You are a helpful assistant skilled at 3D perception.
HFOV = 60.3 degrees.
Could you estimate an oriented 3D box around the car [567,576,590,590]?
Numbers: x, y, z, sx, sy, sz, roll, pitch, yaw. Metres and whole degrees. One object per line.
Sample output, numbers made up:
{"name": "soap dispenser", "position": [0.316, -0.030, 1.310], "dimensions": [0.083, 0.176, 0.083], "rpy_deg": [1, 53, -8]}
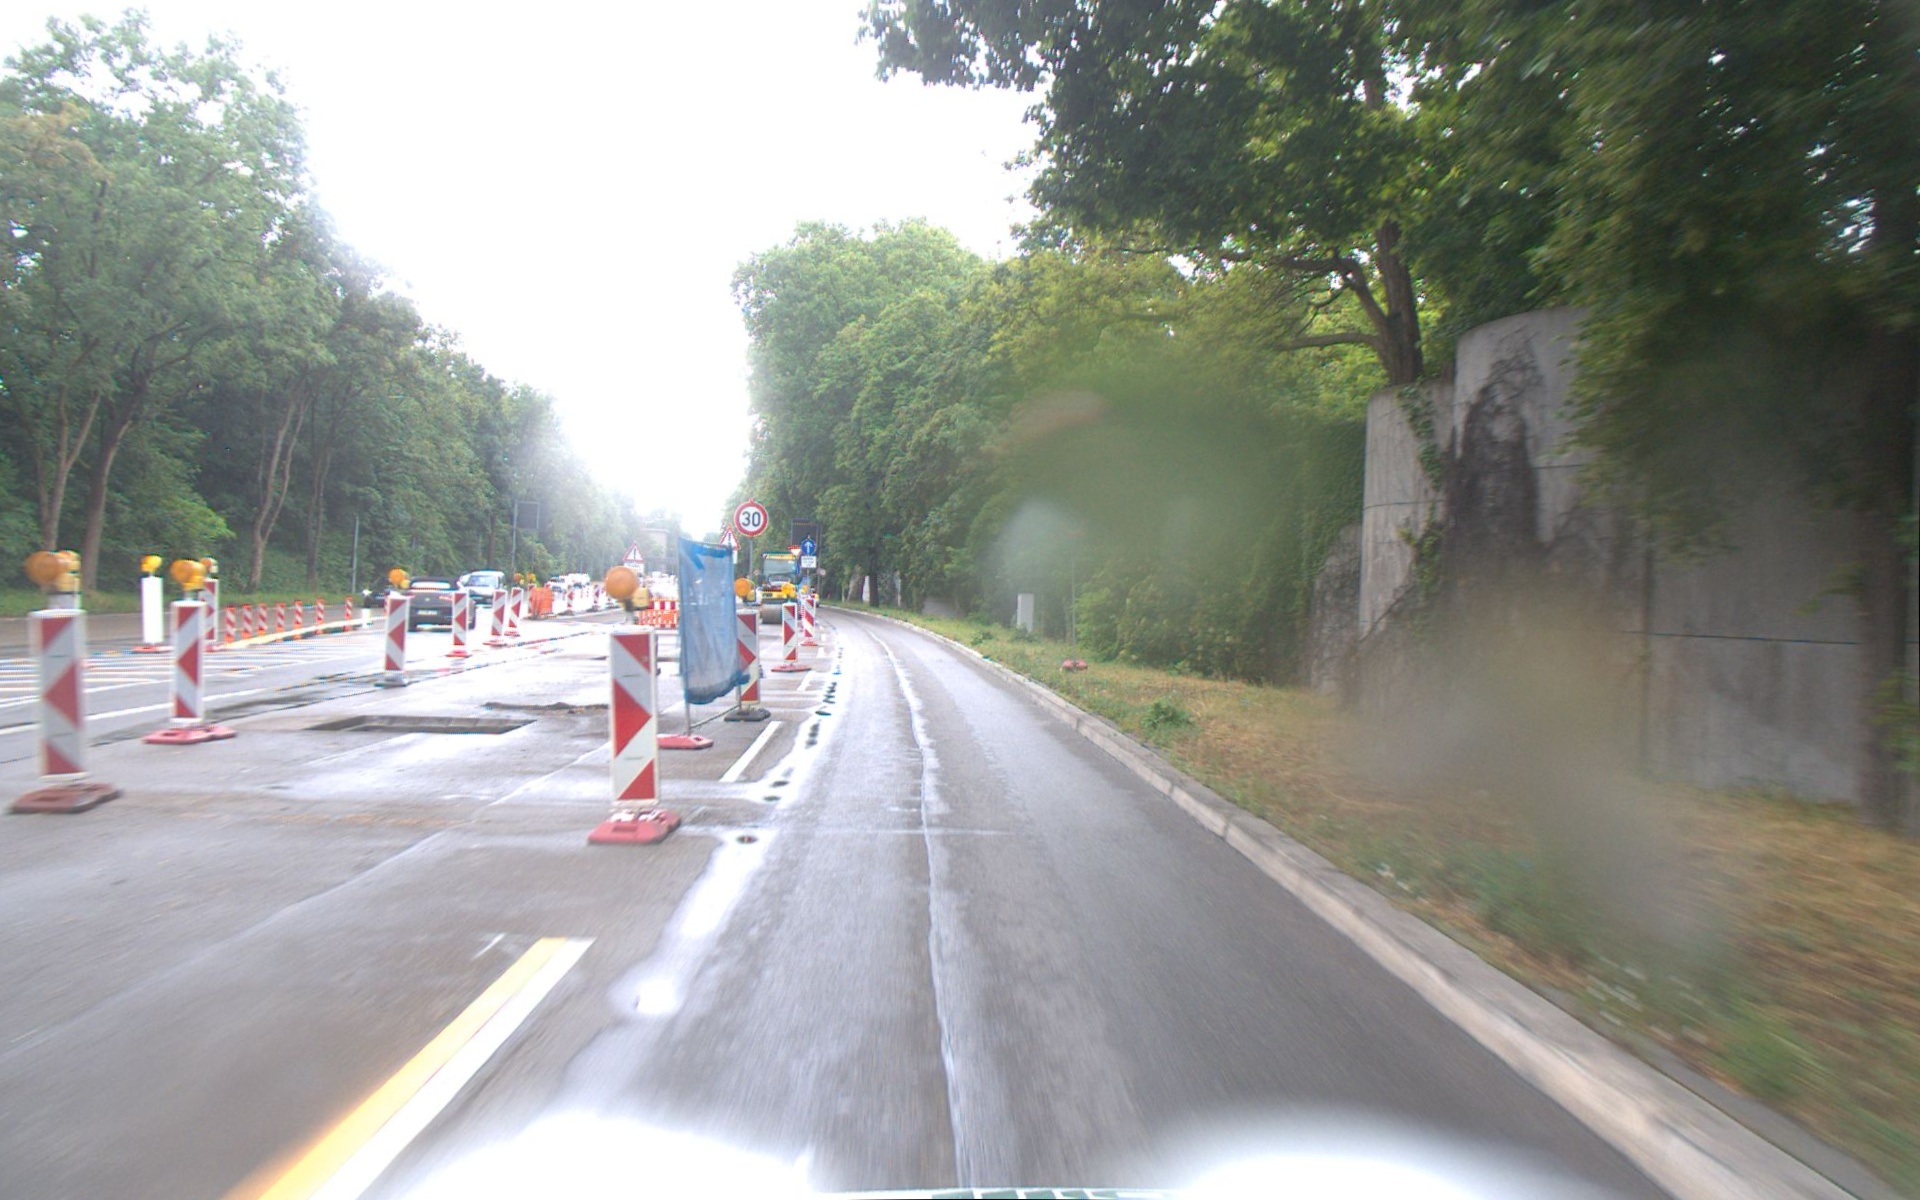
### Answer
{"name": "car", "position": [-45.399, -2.028, 196.709], "dimensions": [1.889, 1.694, 4.649], "rpy_deg": [1, 0, -3]}

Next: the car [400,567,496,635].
{"name": "car", "position": [-13.694, -0.017, 44.412], "dimensions": [1.828, 1.517, 3.993], "rpy_deg": [3, 3, -9]}

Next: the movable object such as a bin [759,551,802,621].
{"name": "movable object such as a bin", "position": [-7.740, -0.599, 71.501], "dimensions": [1.712, 2.917, 3.531], "rpy_deg": [1, 0, -5]}

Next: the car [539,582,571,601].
{"name": "car", "position": [-36.245, -0.756, 148.117], "dimensions": [1.889, 1.694, 4.649], "rpy_deg": [1, 0, -3]}

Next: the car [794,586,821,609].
{"name": "car", "position": [-11.717, -0.200, 127.465], "dimensions": [1.876, 1.625, 4.831], "rpy_deg": [2, 1, -4]}

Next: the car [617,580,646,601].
{"name": "car", "position": [-29.747, -0.839, 149.785], "dimensions": [1.889, 1.809, 4.649], "rpy_deg": [1, 0, -3]}
